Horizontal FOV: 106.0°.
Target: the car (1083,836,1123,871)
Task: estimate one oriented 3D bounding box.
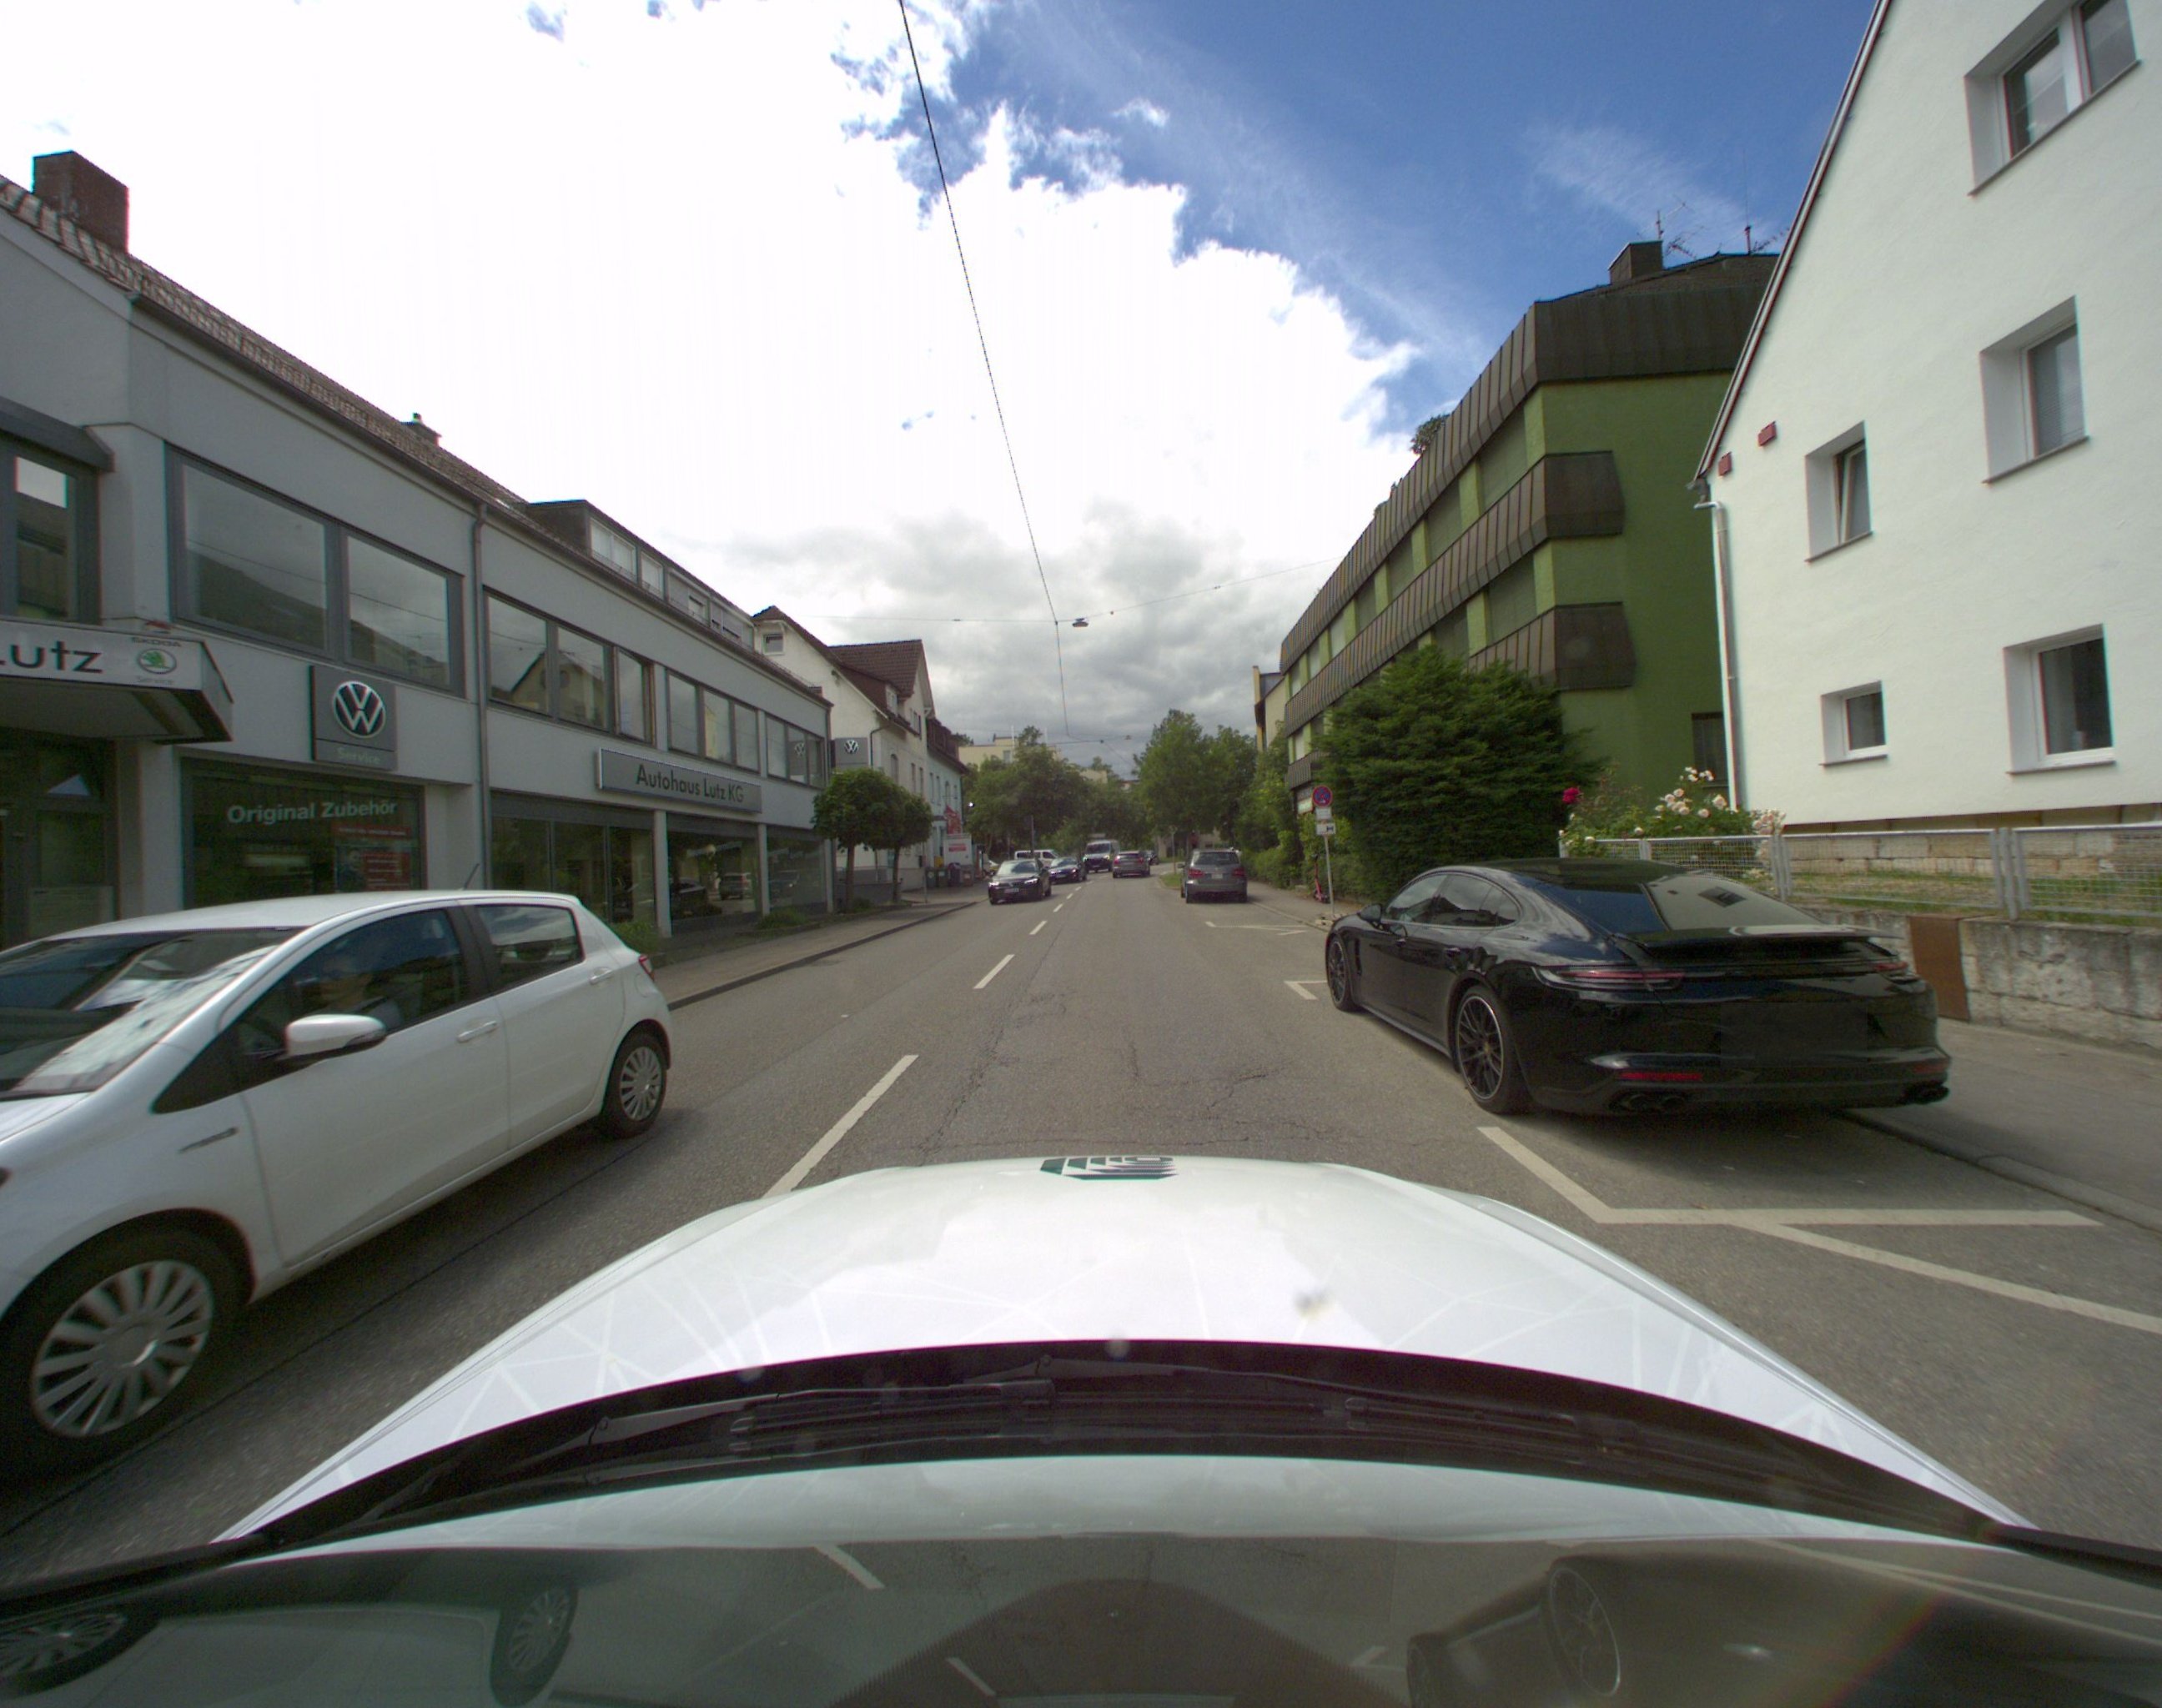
[{"bbox_3d":[1.690,-0.096,60.515,2.050,2.353,5.198,-5,0,10],"label":"car"}]

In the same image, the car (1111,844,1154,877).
[{"bbox_3d":[2.938,0.327,45.949,1.944,1.523,4.341,-2,2,9],"label":"car"}]

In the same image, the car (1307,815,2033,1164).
[{"bbox_3d":[3.267,0.631,5.999,1.977,1.448,4.754,-3,-1,2],"label":"car"}]

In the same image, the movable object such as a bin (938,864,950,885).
[{"bbox_3d":[-7.241,1.070,43.158,0.563,1.101,0.562,-1,-1,-2],"label":"movable object such as a bin"}]

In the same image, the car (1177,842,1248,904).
[{"bbox_3d":[3.966,0.505,25.173,1.682,1.666,4.467,-3,1,4],"label":"car"}]

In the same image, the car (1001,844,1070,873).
[{"bbox_3d":[-3.820,0.386,68.636,5.168,1.993,2.119,-5,0,20],"label":"car"}]

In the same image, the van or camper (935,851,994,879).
[{"bbox_3d":[-8.813,0.829,61.819,1.767,1.994,4.407,-3,-2,37],"label":"van or camper"}]

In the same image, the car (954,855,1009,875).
[{"bbox_3d":[-8.095,0.909,66.255,3.988,1.413,1.822,-2,-2,14],"label":"car"}]

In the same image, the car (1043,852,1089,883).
[{"bbox_3d":[-0.749,0.685,43.586,1.761,1.425,4.117,-5,0,7],"label":"car"}]

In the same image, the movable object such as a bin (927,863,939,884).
[{"bbox_3d":[-7.833,1.040,43.103,0.563,1.101,0.562,-1,-1,-2],"label":"movable object such as a bin"}]

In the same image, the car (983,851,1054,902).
[{"bbox_3d":[-2.164,0.767,29.436,1.768,1.523,4.467,-6,-1,4],"label":"car"}]

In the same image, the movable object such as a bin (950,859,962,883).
[{"bbox_3d":[-6.630,0.905,43.222,0.563,1.273,0.562,-1,0,-2],"label":"movable object such as a bin"}]

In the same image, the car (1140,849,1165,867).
[{"bbox_3d":[6.683,0.392,76.163,1.675,1.482,4.241,-6,-1,12],"label":"car"}]

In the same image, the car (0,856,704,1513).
[{"bbox_3d":[-3.439,0.858,3.541,1.684,1.579,3.800,-3,-1,1],"label":"car"}]

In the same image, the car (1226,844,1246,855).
[{"bbox_3d":[22.292,-0.634,117.118,1.788,1.616,4.353,0,0,24],"label":"car"}]

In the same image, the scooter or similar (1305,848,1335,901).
[{"bbox_3d":[6.220,0.520,21.230,0.299,1.305,1.405,-6,0,2],"label":"scooter or similar"}]
